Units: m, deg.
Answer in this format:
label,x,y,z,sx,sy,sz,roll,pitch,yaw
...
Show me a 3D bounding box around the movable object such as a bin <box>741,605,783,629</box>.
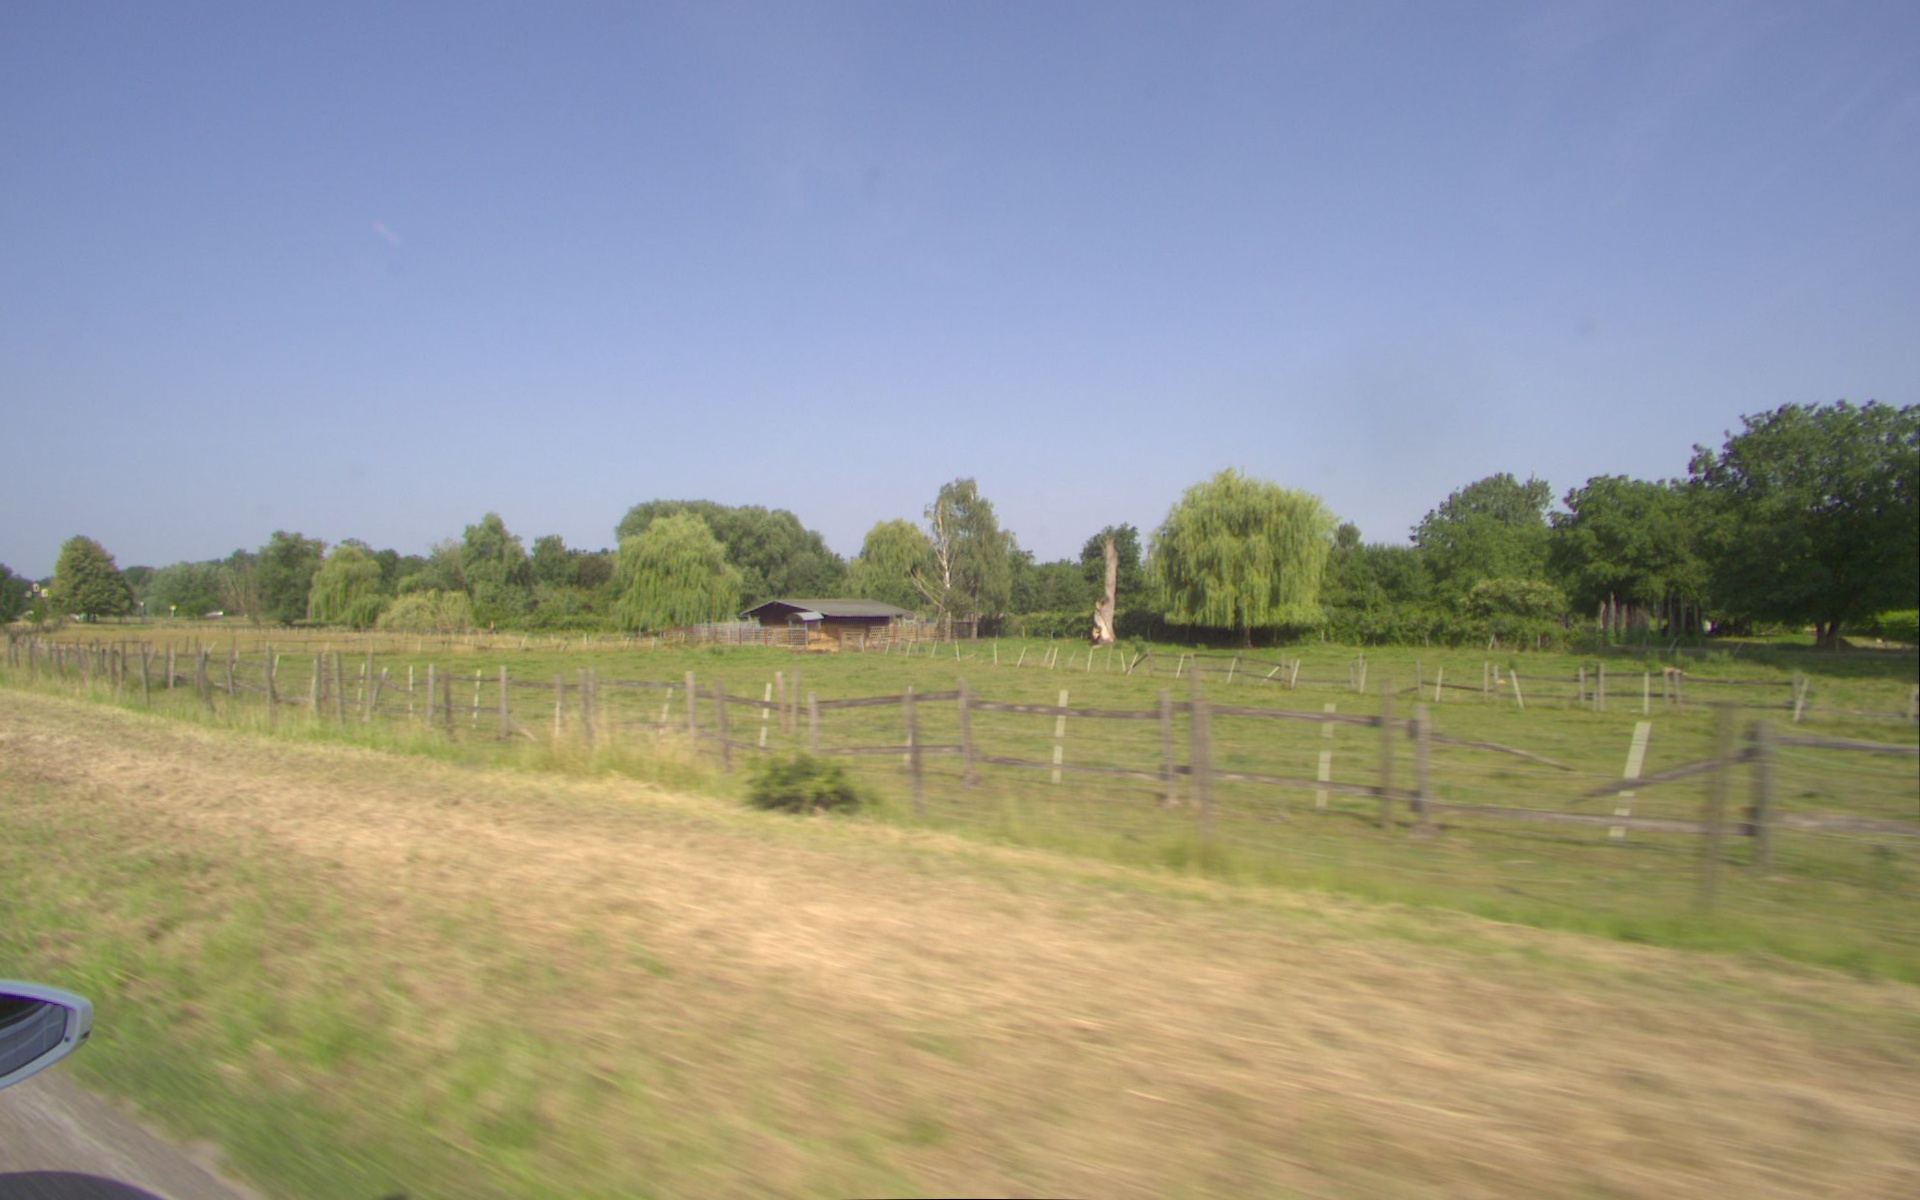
label,x,y,z,sx,sy,sz,roll,pitch,yaw
movable object such as a bin,-18.953,1.591,95.729,4.119,2.222,1.983,0,-1,44
